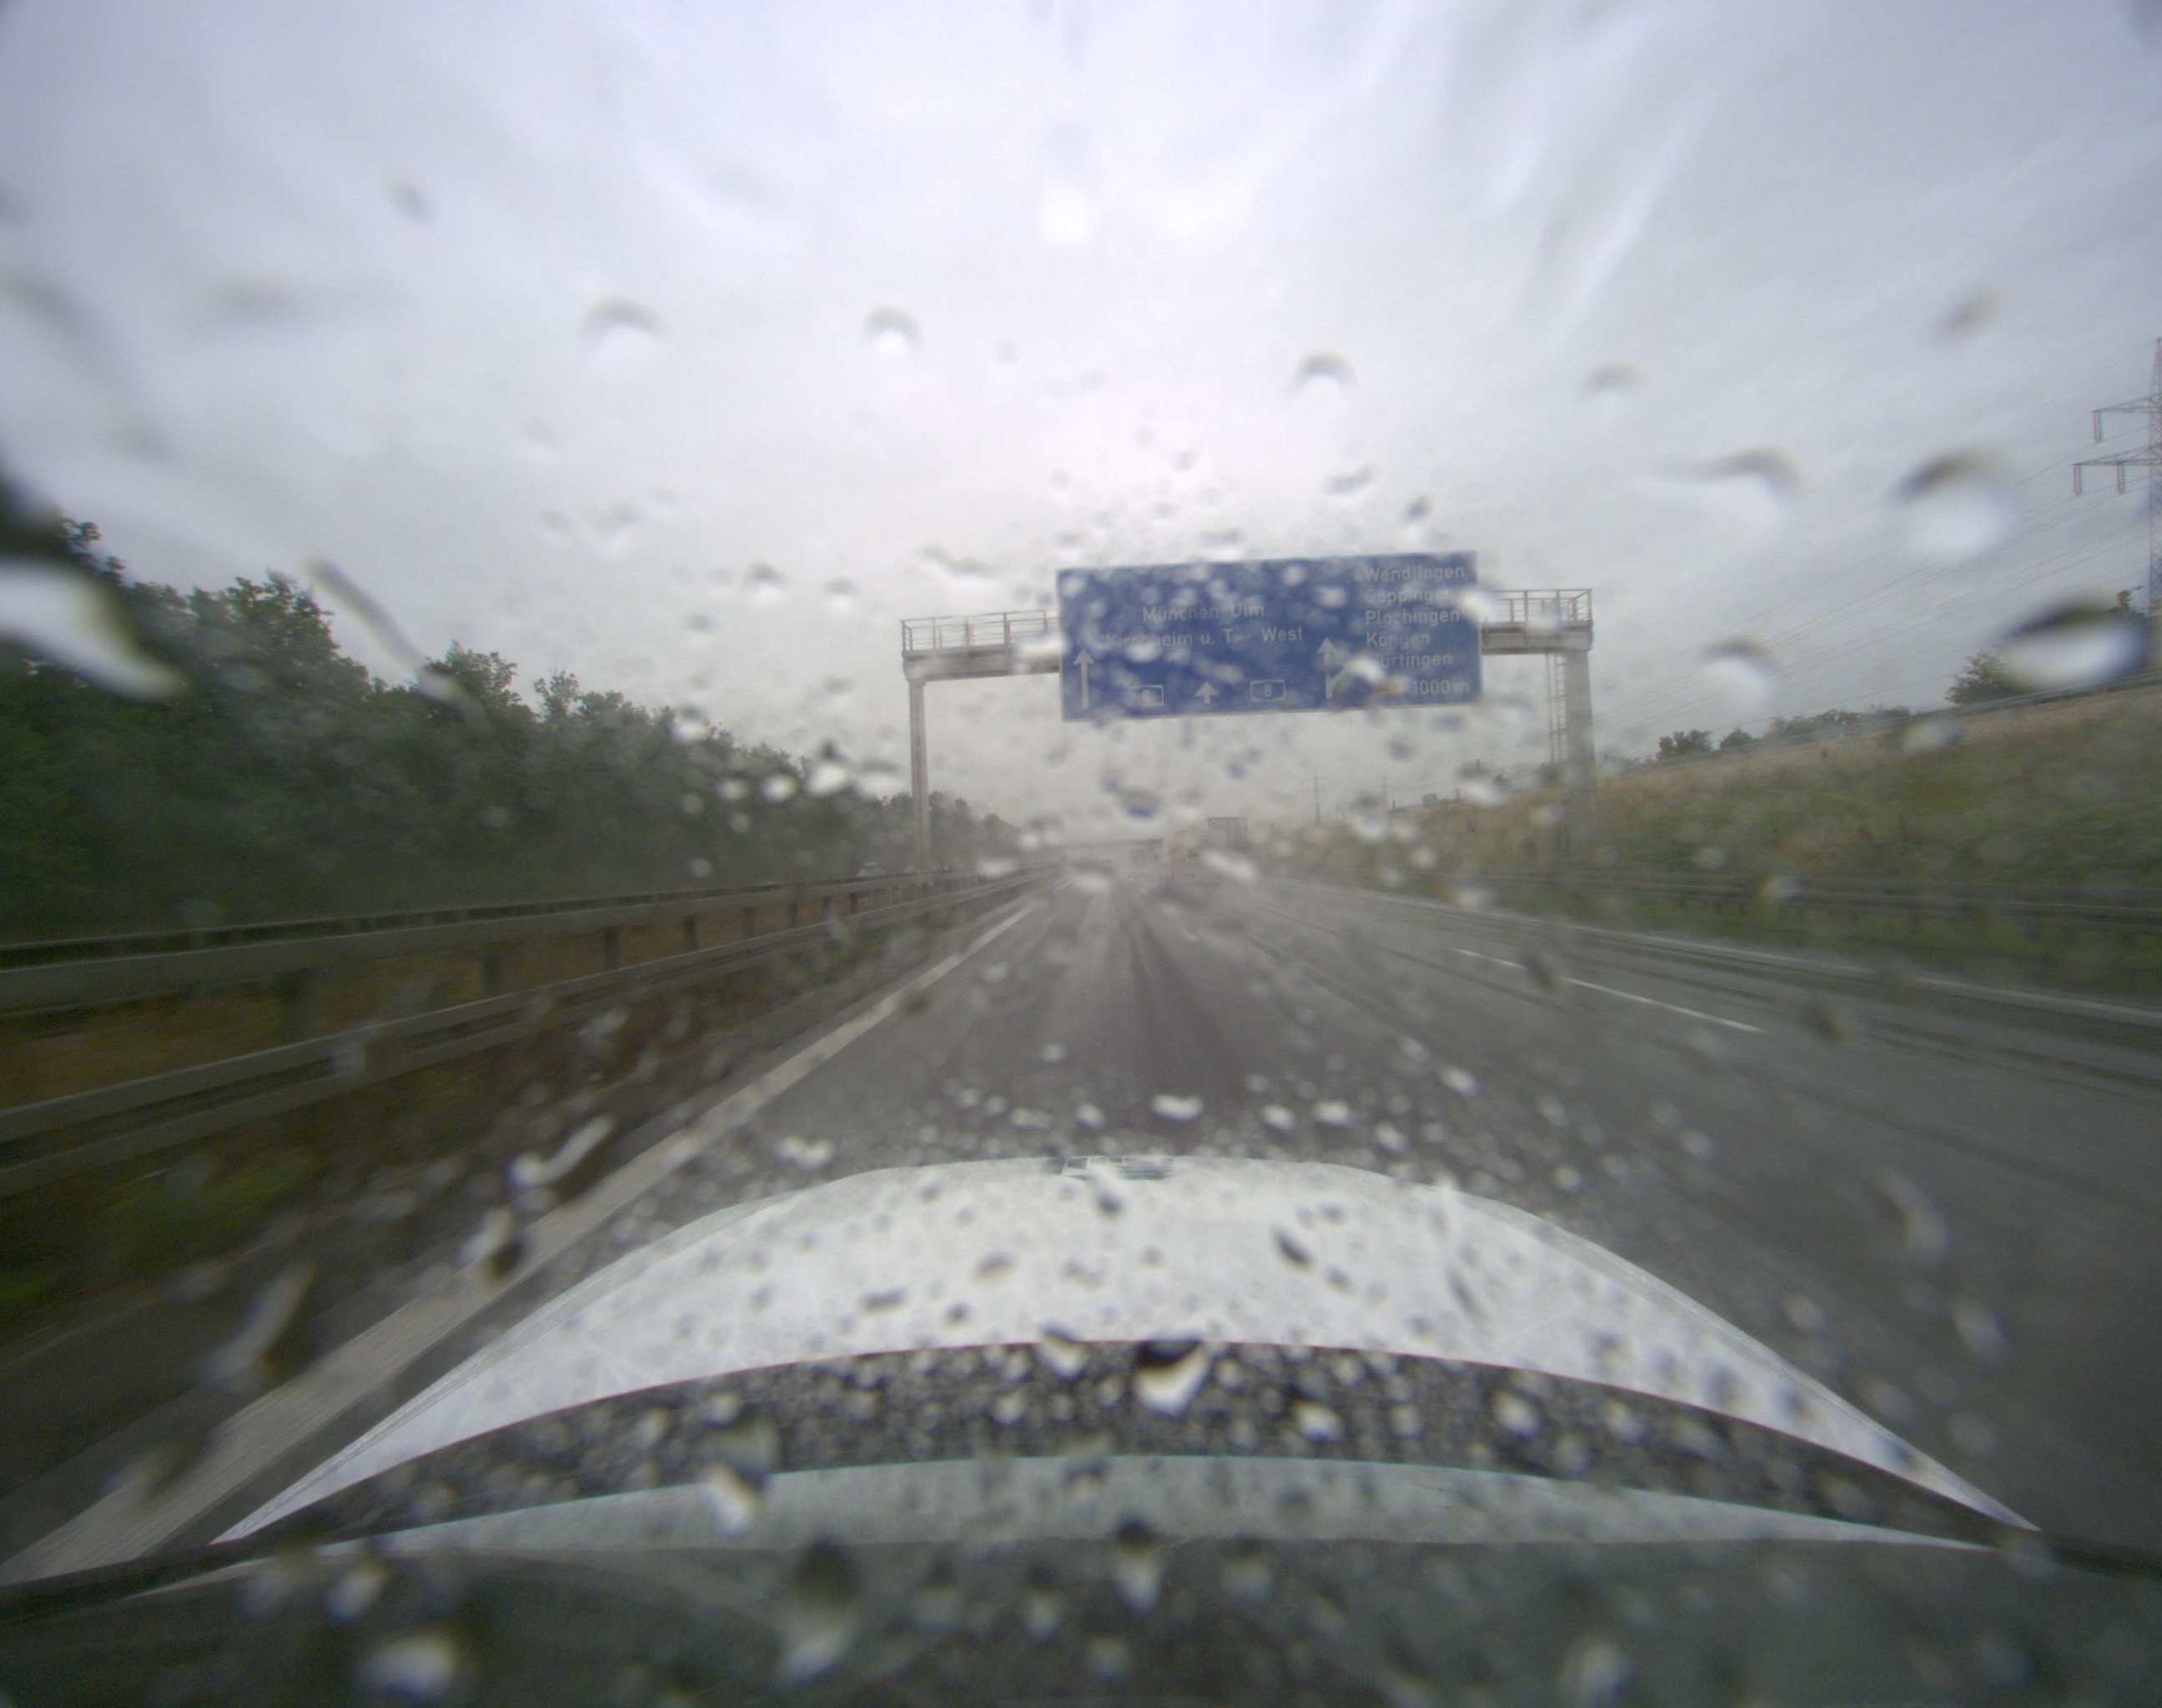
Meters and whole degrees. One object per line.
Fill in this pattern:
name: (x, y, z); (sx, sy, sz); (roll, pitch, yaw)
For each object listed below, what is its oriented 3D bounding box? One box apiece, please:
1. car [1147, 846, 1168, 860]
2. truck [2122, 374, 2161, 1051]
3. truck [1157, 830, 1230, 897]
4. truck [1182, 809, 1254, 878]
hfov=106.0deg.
car: (11.216, -0.175, 120.268); (2.778, 2.013, 4.995); (0, 1, 1)
truck: (7.557, -0.810, 2.438); (2.488, 3.983, 5.077); (0, 1, 1)
truck: (4.471, 0.310, 33.263); (2.410, 2.492, 5.563); (0, 1, 2)
truck: (10.106, -0.682, 62.371); (3.029, 4.588, 16.353); (-1, 0, 1)
